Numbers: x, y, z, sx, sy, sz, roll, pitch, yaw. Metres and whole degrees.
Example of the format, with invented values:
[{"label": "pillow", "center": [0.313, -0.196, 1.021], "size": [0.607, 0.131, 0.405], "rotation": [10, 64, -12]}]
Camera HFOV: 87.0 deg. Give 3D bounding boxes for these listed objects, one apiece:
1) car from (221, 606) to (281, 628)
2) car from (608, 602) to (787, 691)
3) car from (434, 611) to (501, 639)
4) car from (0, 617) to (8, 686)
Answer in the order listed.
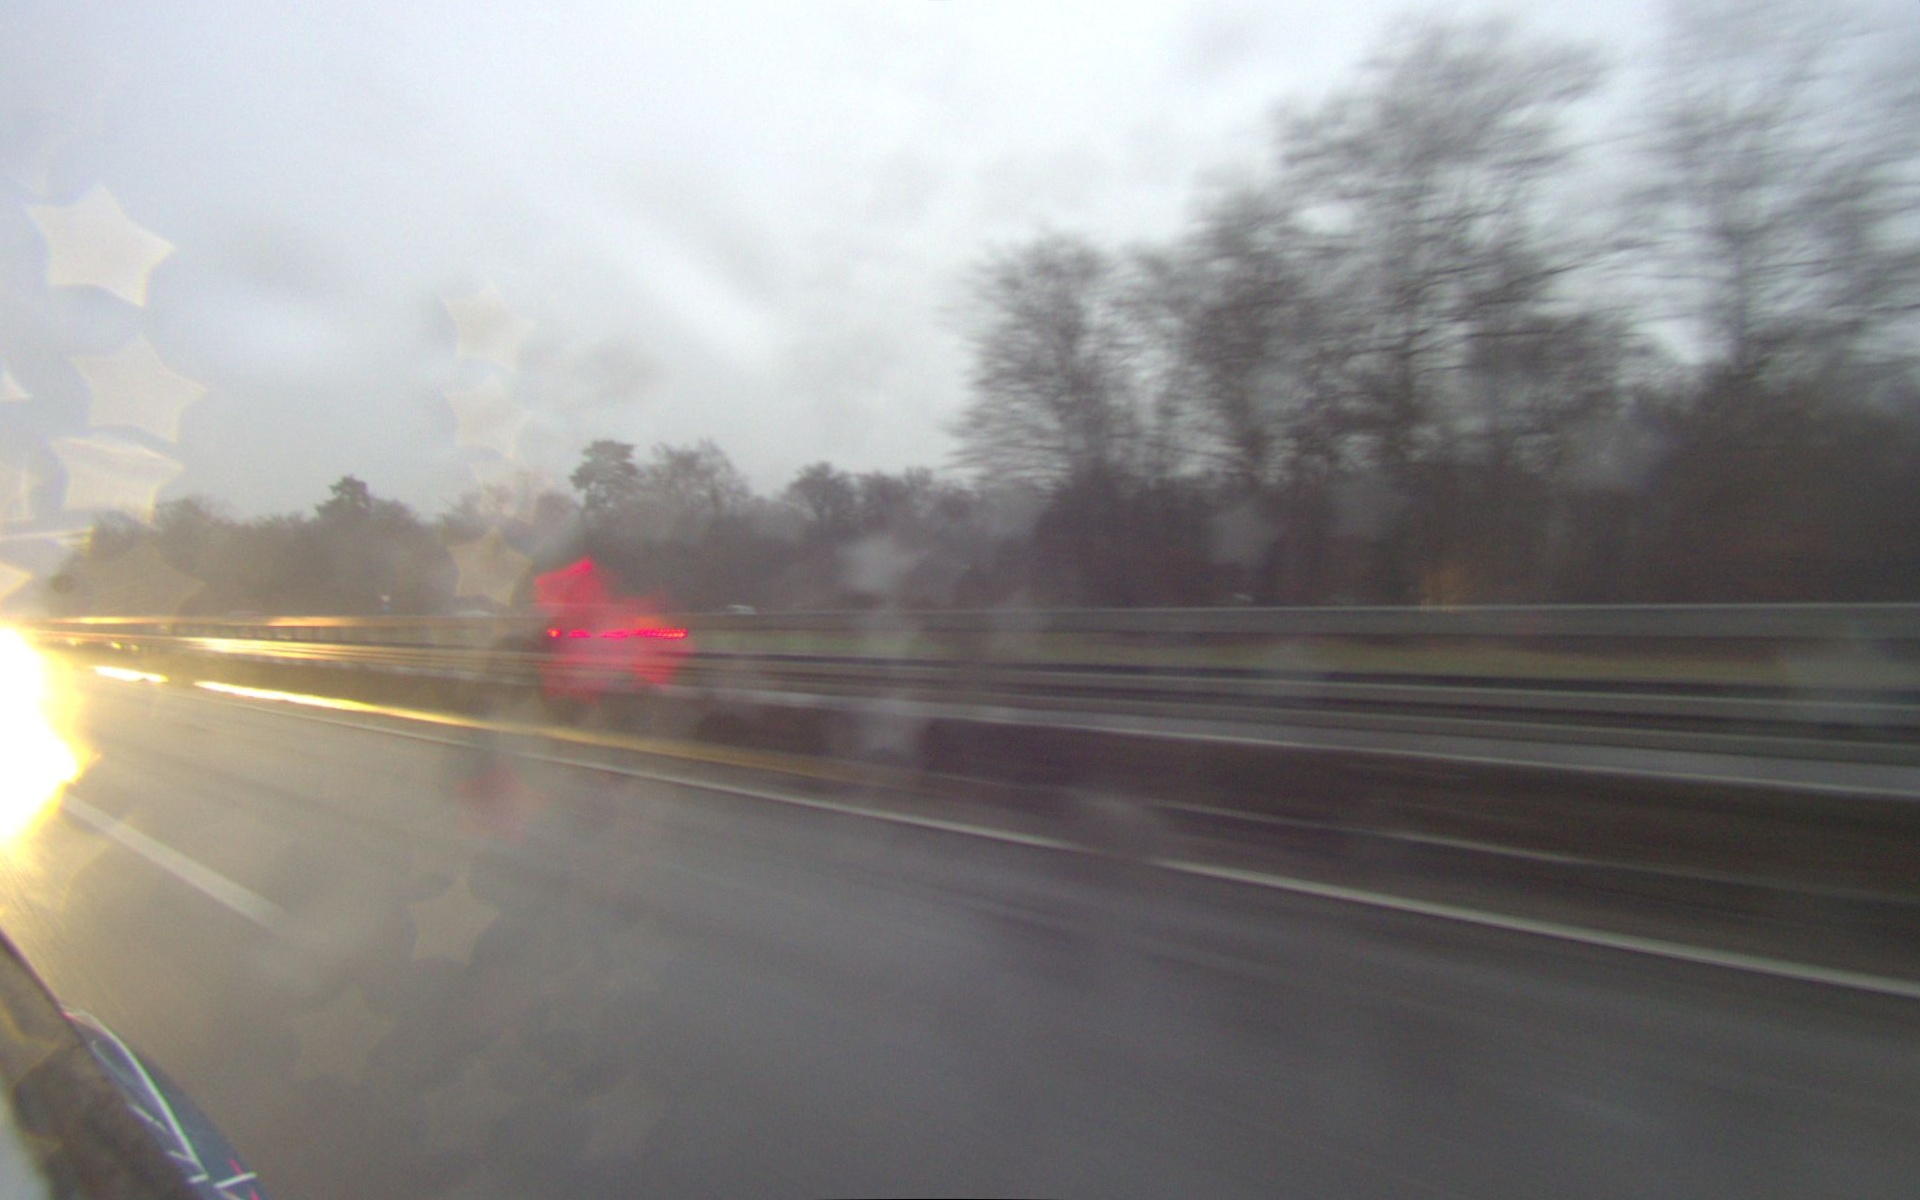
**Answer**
[{"label": "car", "center": [-56.859, 1.364, 81.185], "size": [3.965, 1.724, 1.989], "rotation": [-1, 0, 17]}, {"label": "car", "center": [-4.951, 0.817, 18.941], "size": [3.428, 1.510, 1.543], "rotation": [-1, 0, 40]}, {"label": "car", "center": [-36.091, 1.820, 74.221], "size": [4.159, 2.029, 1.774], "rotation": [-1, 0, 7]}, {"label": "car", "center": [-29.153, 1.499, 29.460], "size": [3.998, 1.948, 1.744], "rotation": [-1, 0, 41]}]
